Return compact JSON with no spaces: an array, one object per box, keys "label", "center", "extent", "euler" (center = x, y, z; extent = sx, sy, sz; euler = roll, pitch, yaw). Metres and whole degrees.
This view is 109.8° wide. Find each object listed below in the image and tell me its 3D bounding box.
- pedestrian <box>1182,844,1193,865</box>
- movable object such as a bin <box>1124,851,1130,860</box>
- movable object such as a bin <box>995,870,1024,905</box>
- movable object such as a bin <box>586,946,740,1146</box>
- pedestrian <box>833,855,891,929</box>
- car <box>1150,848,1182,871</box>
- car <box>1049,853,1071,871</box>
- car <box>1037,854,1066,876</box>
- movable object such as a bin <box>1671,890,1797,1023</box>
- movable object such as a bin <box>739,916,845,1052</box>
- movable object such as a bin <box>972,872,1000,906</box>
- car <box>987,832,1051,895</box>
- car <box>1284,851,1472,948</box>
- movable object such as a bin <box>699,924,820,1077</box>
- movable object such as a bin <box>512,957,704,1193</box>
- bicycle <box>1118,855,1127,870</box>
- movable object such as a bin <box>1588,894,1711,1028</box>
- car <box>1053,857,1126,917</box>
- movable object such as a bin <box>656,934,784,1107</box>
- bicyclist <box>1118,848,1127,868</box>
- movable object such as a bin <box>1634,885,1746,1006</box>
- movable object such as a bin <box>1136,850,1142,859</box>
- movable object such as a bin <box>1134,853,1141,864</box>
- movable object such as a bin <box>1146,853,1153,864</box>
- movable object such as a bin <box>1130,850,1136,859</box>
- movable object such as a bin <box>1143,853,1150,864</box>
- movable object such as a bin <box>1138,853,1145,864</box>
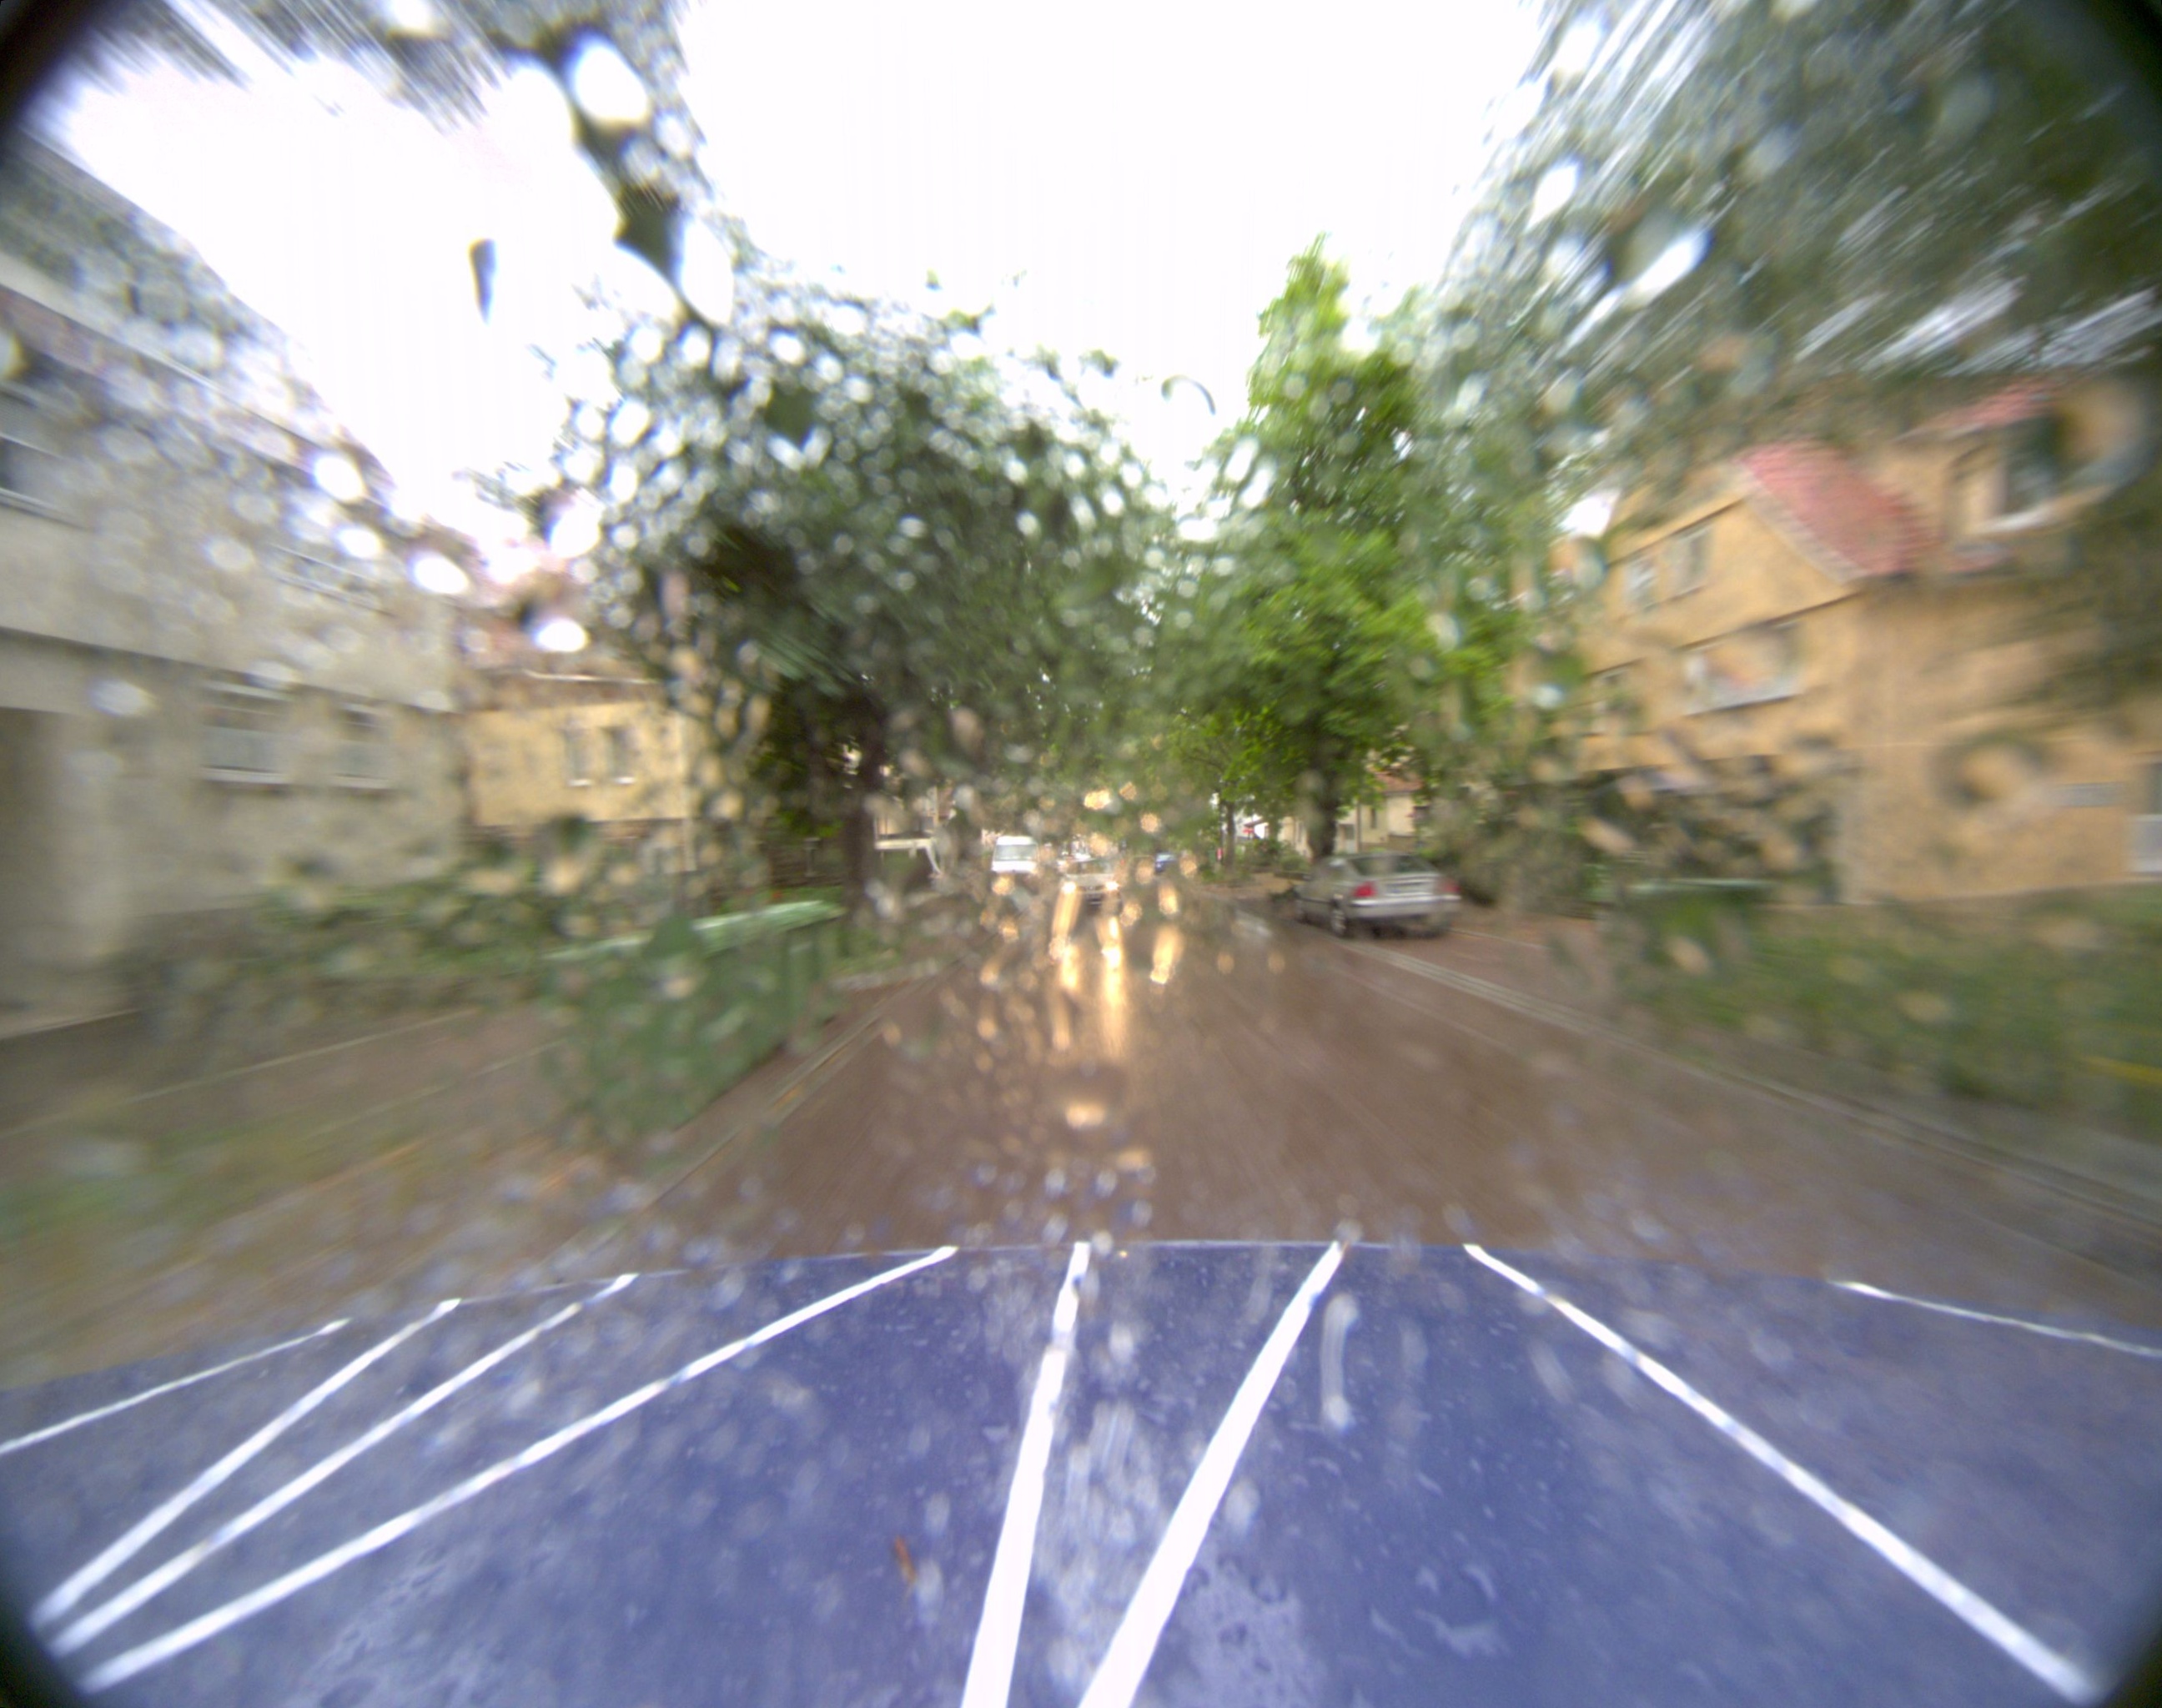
[{"label":"pedestrian","center":[8.046,0.025,57.372],"extent":[0.651,1.585,0.932],"euler":[-3,1,1]},{"label":"movable object such as a bin","center":[5.801,0.152,96.238],"extent":[0.585,1.071,0.570],"euler":[-5,1,-1]},{"label":"movable object such as a bin","center":[-2.375,1.112,25.276],"extent":[0.799,1.069,0.879],"euler":[-3,1,1]},{"label":"movable object such as a bin","center":[-2.549,1.150,4.679],"extent":[0.632,1.076,0.472],"euler":[-3,1,-3]},{"label":"pedestrian","center":[-5.028,0.860,17.464],"extent":[0.955,1.642,0.795],"euler":[-1,1,15]},{"label":"car","center":[5.640,0.361,50.920],"extent":[1.754,1.388,3.796],"euler":[-3,1,2]},{"label":"car","center":[-1.744,0.665,63.280],"extent":[1.685,1.391,3.794],"euler":[-2,1,0]},{"label":"car","center":[-2.024,0.718,53.624],"extent":[1.813,1.403,3.783],"euler":[-3,0,1]},{"label":"movable object such as a bin","center":[5.701,0.878,6.656],"extent":[0.596,1.056,0.545],"euler":[-3,1,5]},{"label":"movable object such as a bin","center":[-2.525,1.119,6.691],"extent":[0.690,1.076,0.540],"euler":[-3,1,-3]},{"label":"movable object such as a bin","center":[-3.156,1.148,25.264],"extent":[0.750,1.069,0.879],"euler":[-3,1,1]},{"label":"car","center":[-2.618,0.373,33.298],"extent":[2.146,2.446,5.435],"euler":[-3,1,1]},{"label":"car","center":[5.222,0.697,14.067],"extent":[1.776,1.381,4.546],"euler":[-4,0,2]},{"label":"movable object such as a bin","center":[-2.530,1.134,6.030],"extent":[0.690,1.076,0.540],"euler":[-2,1,-3]},{"label":"movable object such as a bin","center":[-2.504,1.145,4.083],"extent":[0.645,1.076,0.540],"euler":[-3,1,-3]},{"label":"bicycle","center":[3.558,0.738,64.631],"extent":[0.629,1.202,1.981],"euler":[-3,1,1]},{"label":"movable object such as a bin","center":[4.964,0.915,6.664],"extent":[0.596,1.056,0.545],"euler":[-5,0,5]},{"label":"car","center":[0.325,0.860,21.532],"extent":[1.828,1.451,3.876],"euler":[-3,0,3]},{"label":"movable object such as a bin","center":[-2.525,1.143,5.360],"extent":[0.611,1.076,0.513],"euler":[-3,1,-3]},{"label":"bicyclist","center":[3.549,0.337,64.788],"extent":[0.629,1.721,0.880],"euler":[-3,1,1]},{"label":"movable object such as a bin","center":[5.789,0.854,7.248],"extent":[0.596,1.056,0.545],"euler":[-3,1,5]},{"label":"movable object such as a bin","center":[7.293,0.039,96.212],"extent":[0.618,1.053,0.561],"euler":[-5,1,0]},{"label":"movable object such as a bin","center":[5.648,0.455,75.996],"extent":[0.665,1.068,0.596],"euler":[-1,2,5]},{"label":"movable object such as a bin","center":[6.813,0.437,75.260],"extent":[0.665,1.068,0.596],"euler":[-1,2,5]},{"label":"movable object such as a bin","center":[6.599,0.092,96.218],"extent":[0.618,1.053,0.569],"euler":[-5,1,0]},{"label":"movable object such as a bin","center":[6.592,0.428,75.943],"extent":[0.665,1.068,0.596],"euler":[-1,2,5]},{"label":"movable object such as a bin","center":[6.002,0.465,75.268],"extent":[0.665,1.061,0.596],"euler":[-1,2,5]}]
